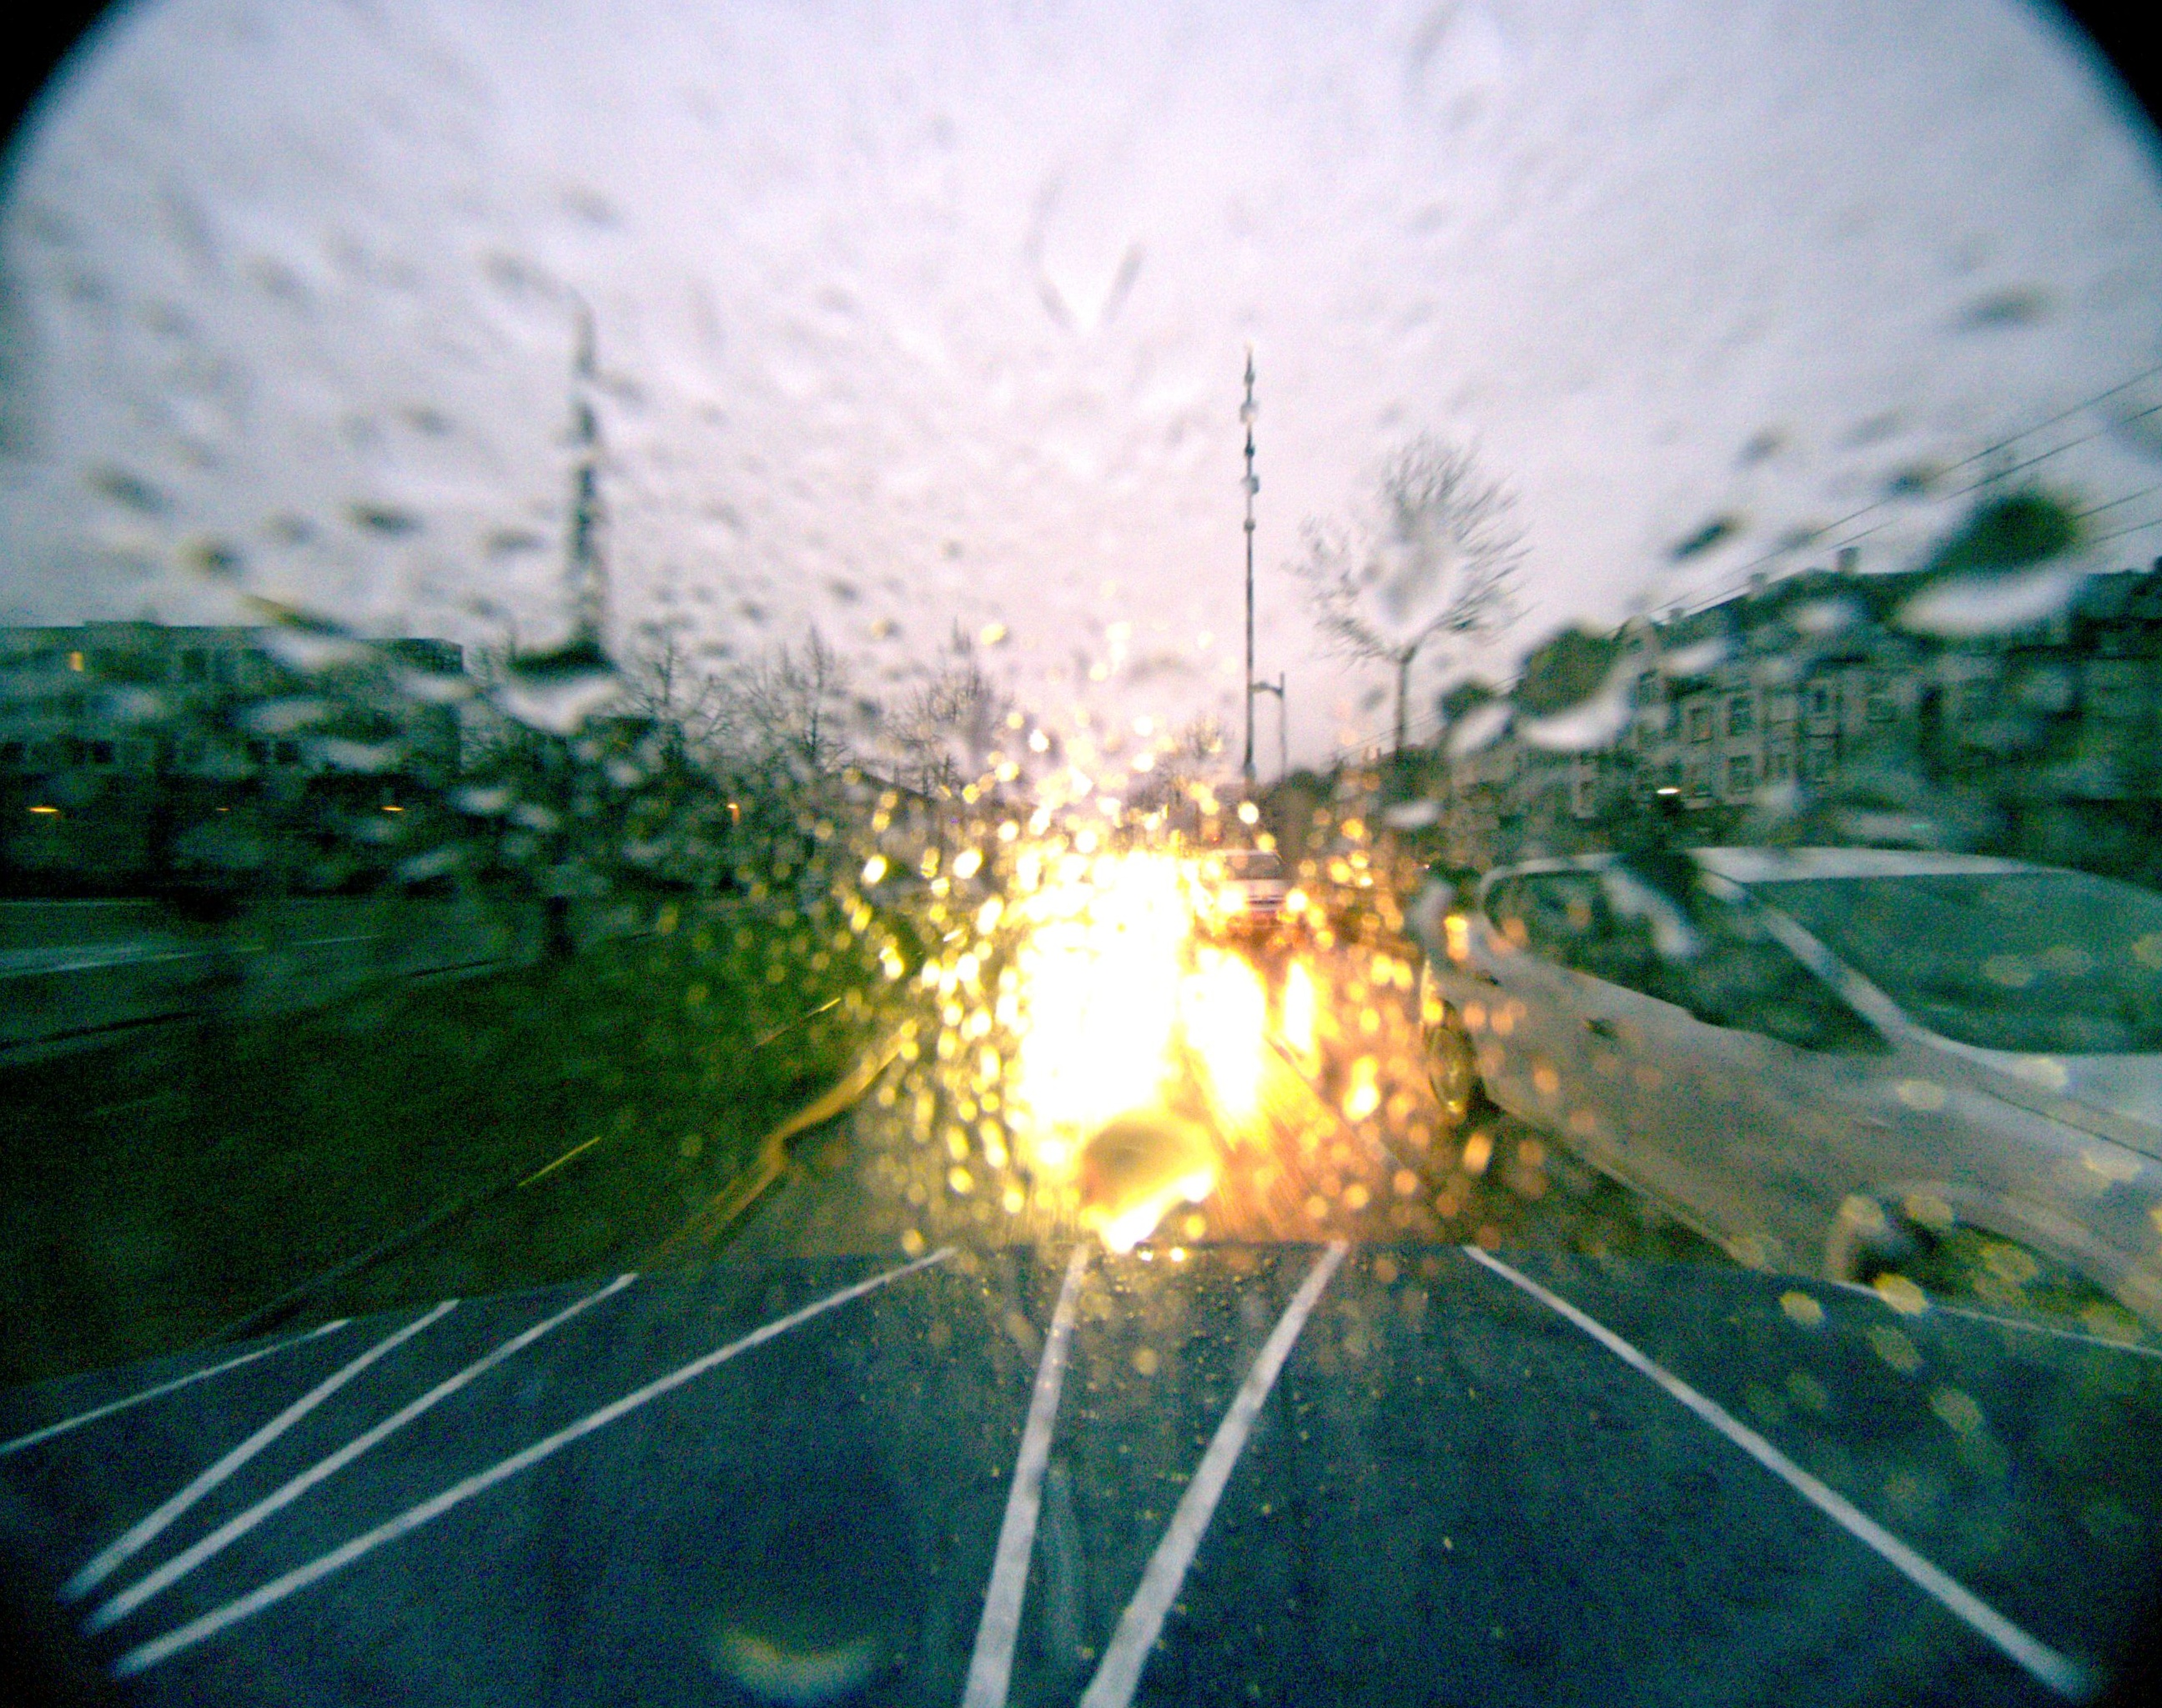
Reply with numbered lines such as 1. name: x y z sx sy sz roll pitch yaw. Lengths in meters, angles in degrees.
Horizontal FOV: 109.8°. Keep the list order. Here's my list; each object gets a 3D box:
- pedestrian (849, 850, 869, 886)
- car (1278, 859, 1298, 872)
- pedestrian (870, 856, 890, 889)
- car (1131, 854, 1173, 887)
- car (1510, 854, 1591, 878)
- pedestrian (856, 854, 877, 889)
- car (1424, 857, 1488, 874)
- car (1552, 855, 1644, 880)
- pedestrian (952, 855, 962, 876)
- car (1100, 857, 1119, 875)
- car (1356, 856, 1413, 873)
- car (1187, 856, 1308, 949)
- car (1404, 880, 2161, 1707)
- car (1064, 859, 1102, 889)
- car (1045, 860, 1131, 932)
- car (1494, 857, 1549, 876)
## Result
1. pedestrian: -11.166 0.684 38.184 0.673 1.767 0.615 -2 1 14
2. car: 26.147 1.439 96.249 1.549 1.495 3.784 -2 0 2
3. pedestrian: -10.034 0.909 37.985 0.673 1.603 0.615 -2 1 15
4. car: 3.485 0.782 37.673 1.905 1.475 3.656 -2 0 4
5. car: 28.632 0.730 46.403 4.034 1.223 1.351 -4 1 37
6. pedestrian: -10.200 0.833 36.137 0.673 1.615 0.615 -2 1 16
7. car: 30.347 0.912 61.563 4.254 1.250 1.837 -2 0 41
8. car: 29.179 0.767 42.938 4.095 1.154 1.715 -4 1 40
9. pedestrian: -9.741 0.881 59.783 0.669 1.646 0.994 0 1 -4
10. car: 2.814 1.211 75.609 1.802 1.674 3.806 -2 0 1
11. car: 28.387 1.027 71.108 4.651 1.423 1.697 -2 0 37
12. car: 3.098 0.832 14.867 1.638 1.510 3.908 -2 0 3
13. car: 2.768 0.921 2.515 1.692 1.465 4.001 -2 0 1
14. car: 0.099 0.963 37.592 1.736 1.311 3.803 -2 0 1
15. car: 0.158 0.847 16.973 1.669 1.325 3.787 -2 0 1
16. car: 28.754 0.795 49.642 2.912 0.984 1.798 -4 1 36
